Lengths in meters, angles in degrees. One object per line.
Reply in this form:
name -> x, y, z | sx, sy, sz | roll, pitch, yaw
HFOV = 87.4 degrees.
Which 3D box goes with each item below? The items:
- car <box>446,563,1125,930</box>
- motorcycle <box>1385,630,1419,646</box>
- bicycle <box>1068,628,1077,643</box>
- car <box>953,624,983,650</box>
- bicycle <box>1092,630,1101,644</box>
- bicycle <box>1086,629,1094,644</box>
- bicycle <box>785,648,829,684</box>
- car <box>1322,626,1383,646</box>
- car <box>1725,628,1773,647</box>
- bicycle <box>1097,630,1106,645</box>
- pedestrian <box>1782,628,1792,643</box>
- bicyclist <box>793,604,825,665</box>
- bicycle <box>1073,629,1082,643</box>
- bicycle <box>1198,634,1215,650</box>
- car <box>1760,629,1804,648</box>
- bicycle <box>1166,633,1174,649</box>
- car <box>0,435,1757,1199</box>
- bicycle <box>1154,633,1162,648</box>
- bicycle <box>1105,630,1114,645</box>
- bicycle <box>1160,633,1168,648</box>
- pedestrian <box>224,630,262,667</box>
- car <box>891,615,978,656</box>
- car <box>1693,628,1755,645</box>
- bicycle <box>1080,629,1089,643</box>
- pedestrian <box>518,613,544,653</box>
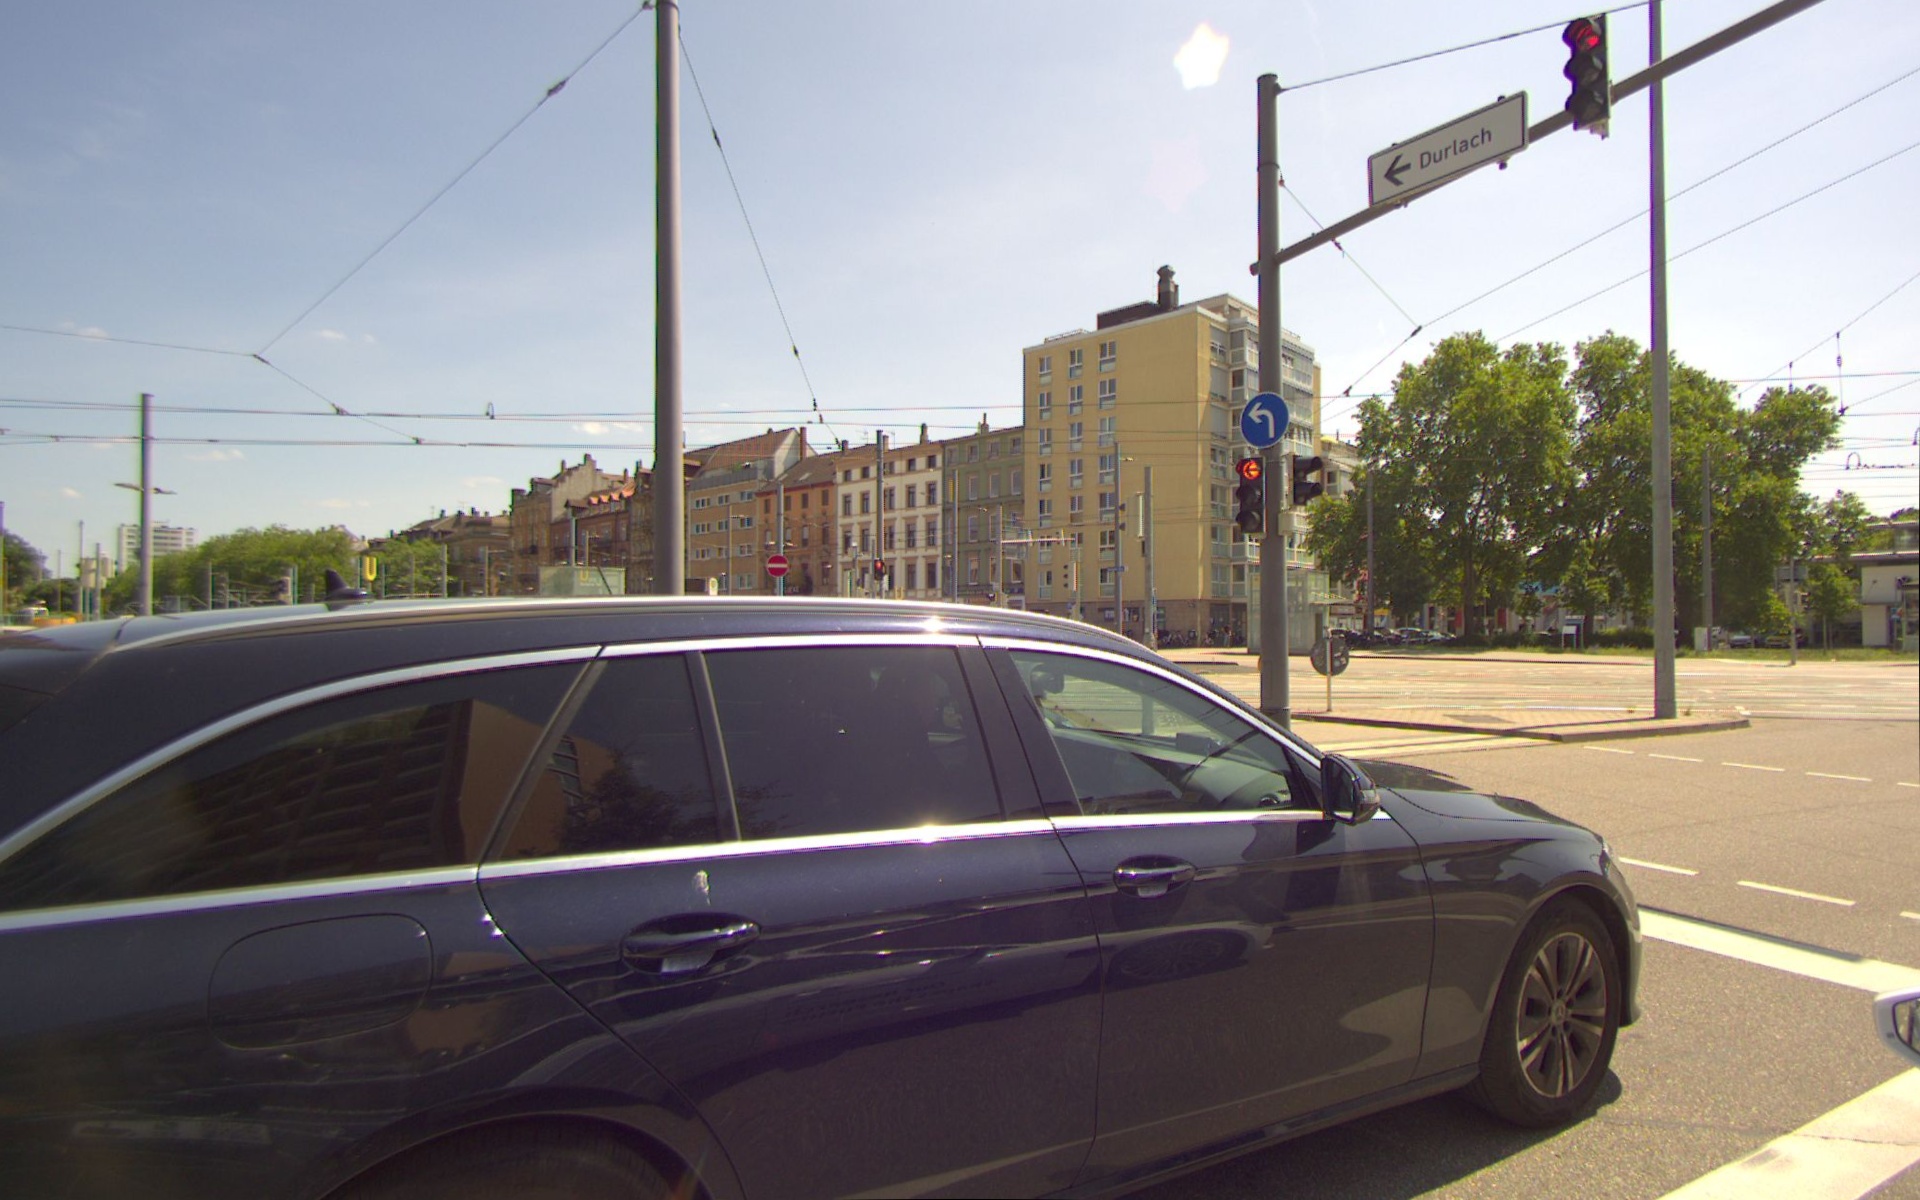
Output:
car -> -0.994, 0.686, 6.066 | 3.692, 1.597, 1.736 | 1, -2, -30
motorcycle -> 27.800, 2.388, 63.162 | 1.887, 0.974, 0.524 | -1, -1, 31
bicycle -> 8.353, 2.631, 74.356 | 0.424, 1.040, 1.445 | 0, -1, 16
car -> 0.558, 2.542, 70.485 | 1.803, 1.773, 3.998 | 0, -1, -4
bicycle -> 9.925, 2.673, 72.975 | 0.424, 1.040, 1.445 | 0, -1, 16
bicycle -> 9.483, 2.661, 73.272 | 0.424, 1.040, 1.445 | 0, -1, 16
bicycle -> -4.034, 1.708, 26.370 | 0.620, 0.866, 1.887 | 1, -2, -26
car -> 29.754, 2.694, 76.165 | 3.935, 1.439, 1.993 | -1, -2, 36
car -> 68.265, 3.231, 86.936 | 4.274, 1.530, 1.759 | 1, -2, -29
bicycle -> 10.241, 2.681, 72.578 | 0.424, 1.040, 1.445 | 0, -1, 16
pedestrian -> 66.792, 2.898, 81.141 | 0.439, 1.220, 0.511 | 1, -1, -24
bicyclist -> -3.991, 0.894, 26.446 | 0.433, 1.549, 1.245 | 2, 0, -26
bicycle -> 8.695, 2.640, 74.017 | 0.424, 1.040, 1.445 | 0, -1, 16
bicycle -> 16.771, 2.863, 68.298 | 0.427, 1.040, 1.435 | -1, -2, 44
car -> 69.121, 3.204, 84.471 | 4.283, 1.530, 1.756 | 1, -2, -35
bicycle -> 14.357, 2.788, 68.567 | 0.424, 1.040, 1.445 | 0, -1, 16
car -> 0.098, 0.668, 2.880 | 4.747, 1.662, 1.789 | 1, 0, -30
bicycle -> 13.613, 2.768, 69.143 | 0.424, 1.040, 1.445 | 0, -1, 16
bicycle -> 10.758, 2.696, 72.319 | 0.424, 1.040, 1.445 | 0, -1, 16
bicycle -> 13.987, 2.778, 68.832 | 0.424, 1.040, 1.445 | 0, -1, 16
pedestrian -> -25.800, 1.739, 36.135 | 0.978, 1.352, 0.527 | 0, -1, 2
car -> -1.402, 1.888, 53.980 | 1.987, 2.084, 4.807 | 1, -2, -44
car -> 70.912, 3.400, 93.286 | 4.245, 1.530, 1.771 | -1, -2, 26
bicycle -> 9.122, 2.651, 73.580 | 0.424, 1.040, 1.445 | 0, -1, 16
pedestrian -> -20.115, 1.544, 47.094 | 1.114, 1.837, 0.677 | -1, -2, 38
